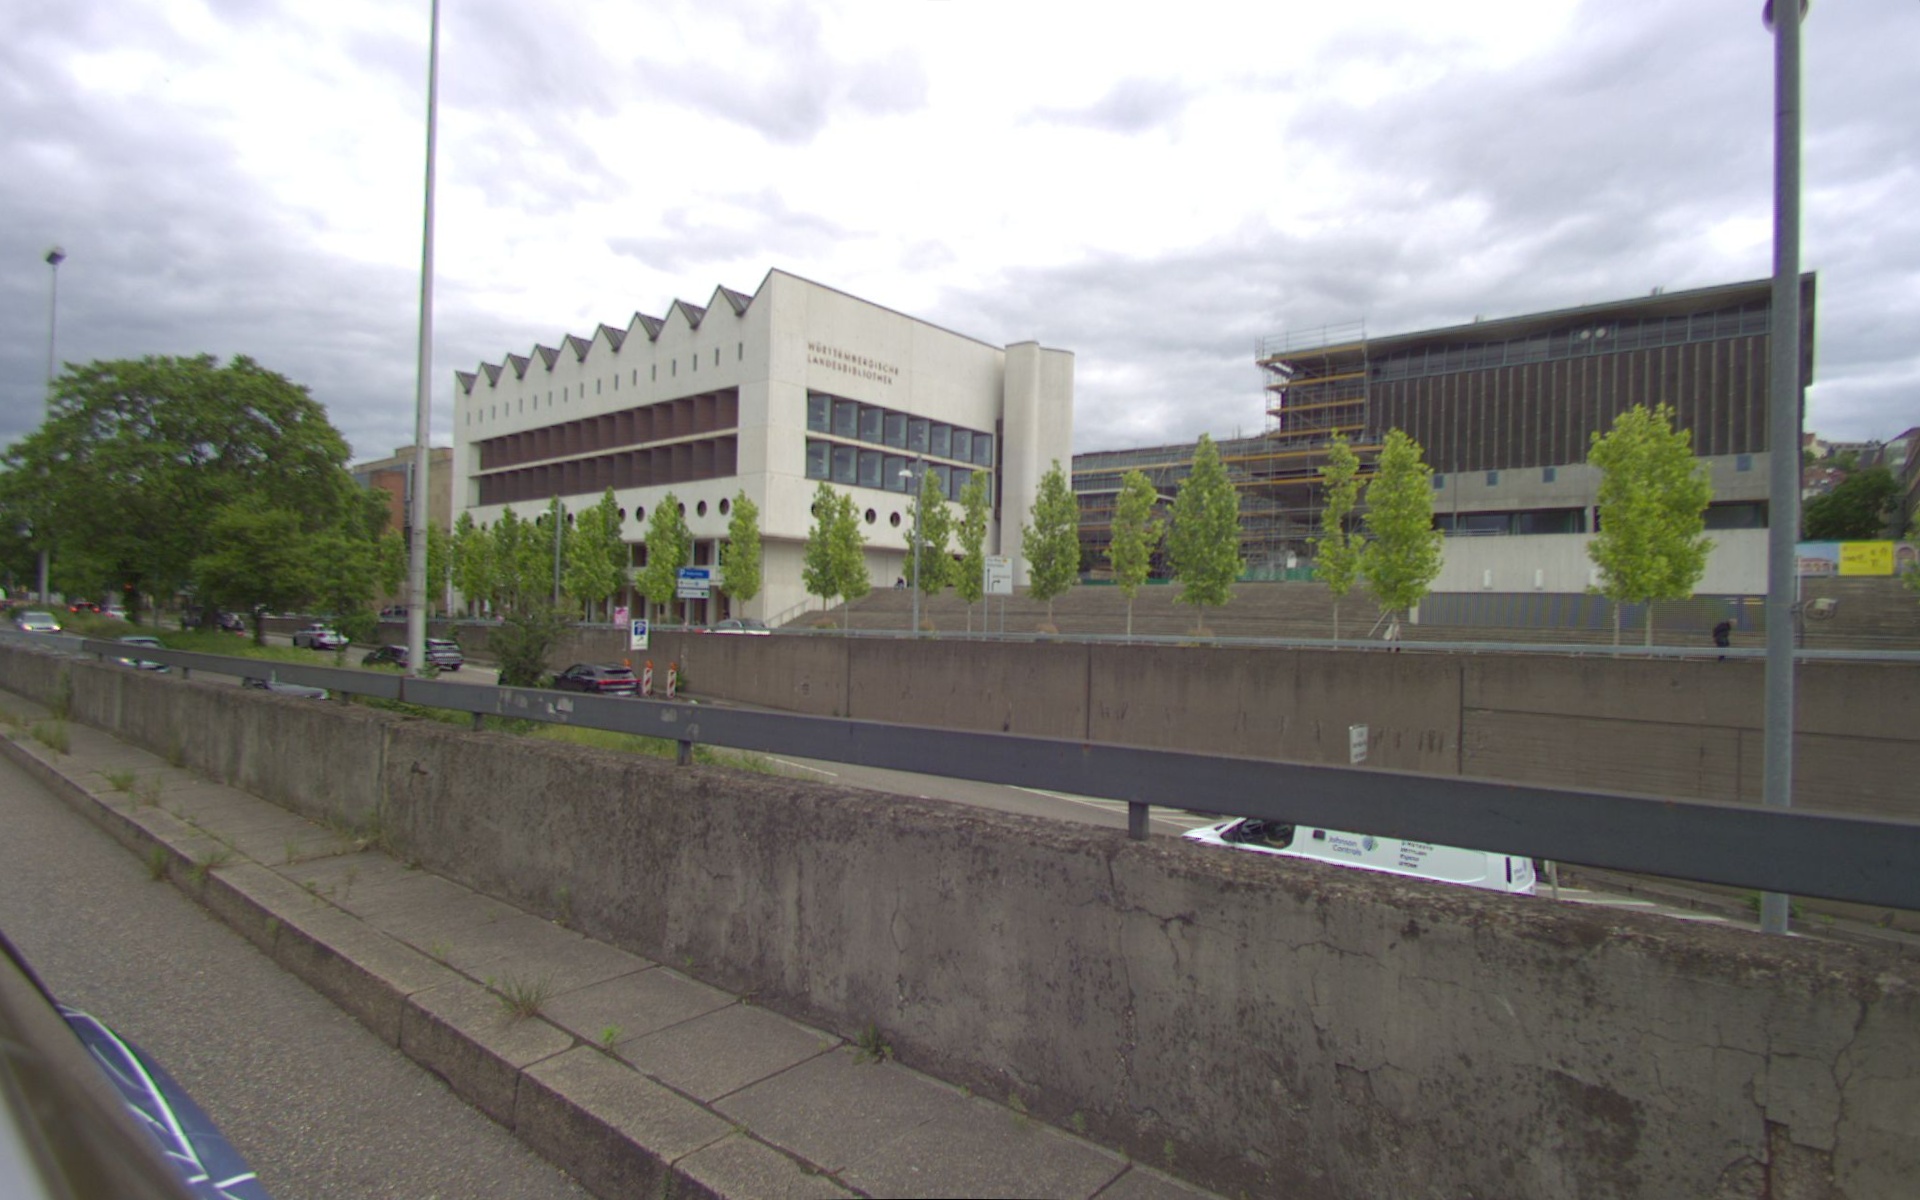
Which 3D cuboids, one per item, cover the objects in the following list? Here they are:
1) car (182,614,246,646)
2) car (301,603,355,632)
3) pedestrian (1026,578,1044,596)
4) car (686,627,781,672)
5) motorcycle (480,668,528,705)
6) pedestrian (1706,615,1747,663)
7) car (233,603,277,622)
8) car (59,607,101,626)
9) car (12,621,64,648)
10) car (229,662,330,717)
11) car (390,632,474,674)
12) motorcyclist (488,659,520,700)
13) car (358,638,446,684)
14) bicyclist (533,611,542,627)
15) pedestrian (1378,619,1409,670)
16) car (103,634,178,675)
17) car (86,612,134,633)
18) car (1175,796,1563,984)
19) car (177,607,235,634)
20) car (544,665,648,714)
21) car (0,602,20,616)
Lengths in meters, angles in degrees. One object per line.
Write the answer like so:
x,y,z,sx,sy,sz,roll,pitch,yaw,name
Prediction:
-43.820,1.746,59.403,4.515,1.687,1.973,0,-4,41,car
-43.592,1.200,69.825,3.998,1.776,1.973,0,-4,41,car
4.879,-0.829,65.783,0.767,0.951,0.718,3,22,34,pedestrian
-9.917,2.132,44.252,3.998,1.776,1.973,0,-4,41,car
-16.192,3.060,35.904,2.050,1.106,0.678,3,-3,41,motorcycle
26.559,1.346,35.074,0.728,1.655,0.795,0,-3,-22,pedestrian
-62.452,1.070,89.576,4.484,1.640,1.931,0,-1,38,car
-71.522,1.348,82.227,3.998,1.409,1.973,0,-4,41,car
-52.073,1.916,57.132,4.089,1.425,1.636,0,-1,40,car
-21.370,2.754,31.725,4.089,1.425,1.539,0,-1,40,car
-24.995,2.485,47.848,4.387,1.624,1.851,4,0,39,car
-16.181,2.822,35.930,0.718,1.362,0.662,3,-3,40,motorcyclist
-23.049,2.489,41.735,4.144,1.500,1.757,3,-1,40,car
-31.521,1.435,75.509,0.643,1.169,0.398,0,1,39,bicyclist
17.561,1.788,41.007,0.728,2.029,0.795,1,-3,-31,pedestrian
-32.218,2.111,39.755,4.089,1.425,1.539,0,-1,40,car
-61.553,1.610,73.244,3.998,1.409,1.973,0,-4,41,car
6.252,4.317,15.886,5.246,1.651,1.974,2,-6,40,car
-52.827,1.430,70.866,4.514,1.657,2.133,2,-3,39,car
-13.440,3.246,37.316,4.003,1.338,1.787,4,0,40,car
-104.806,0.978,111.490,3.473,1.448,1.481,1,1,42,car
